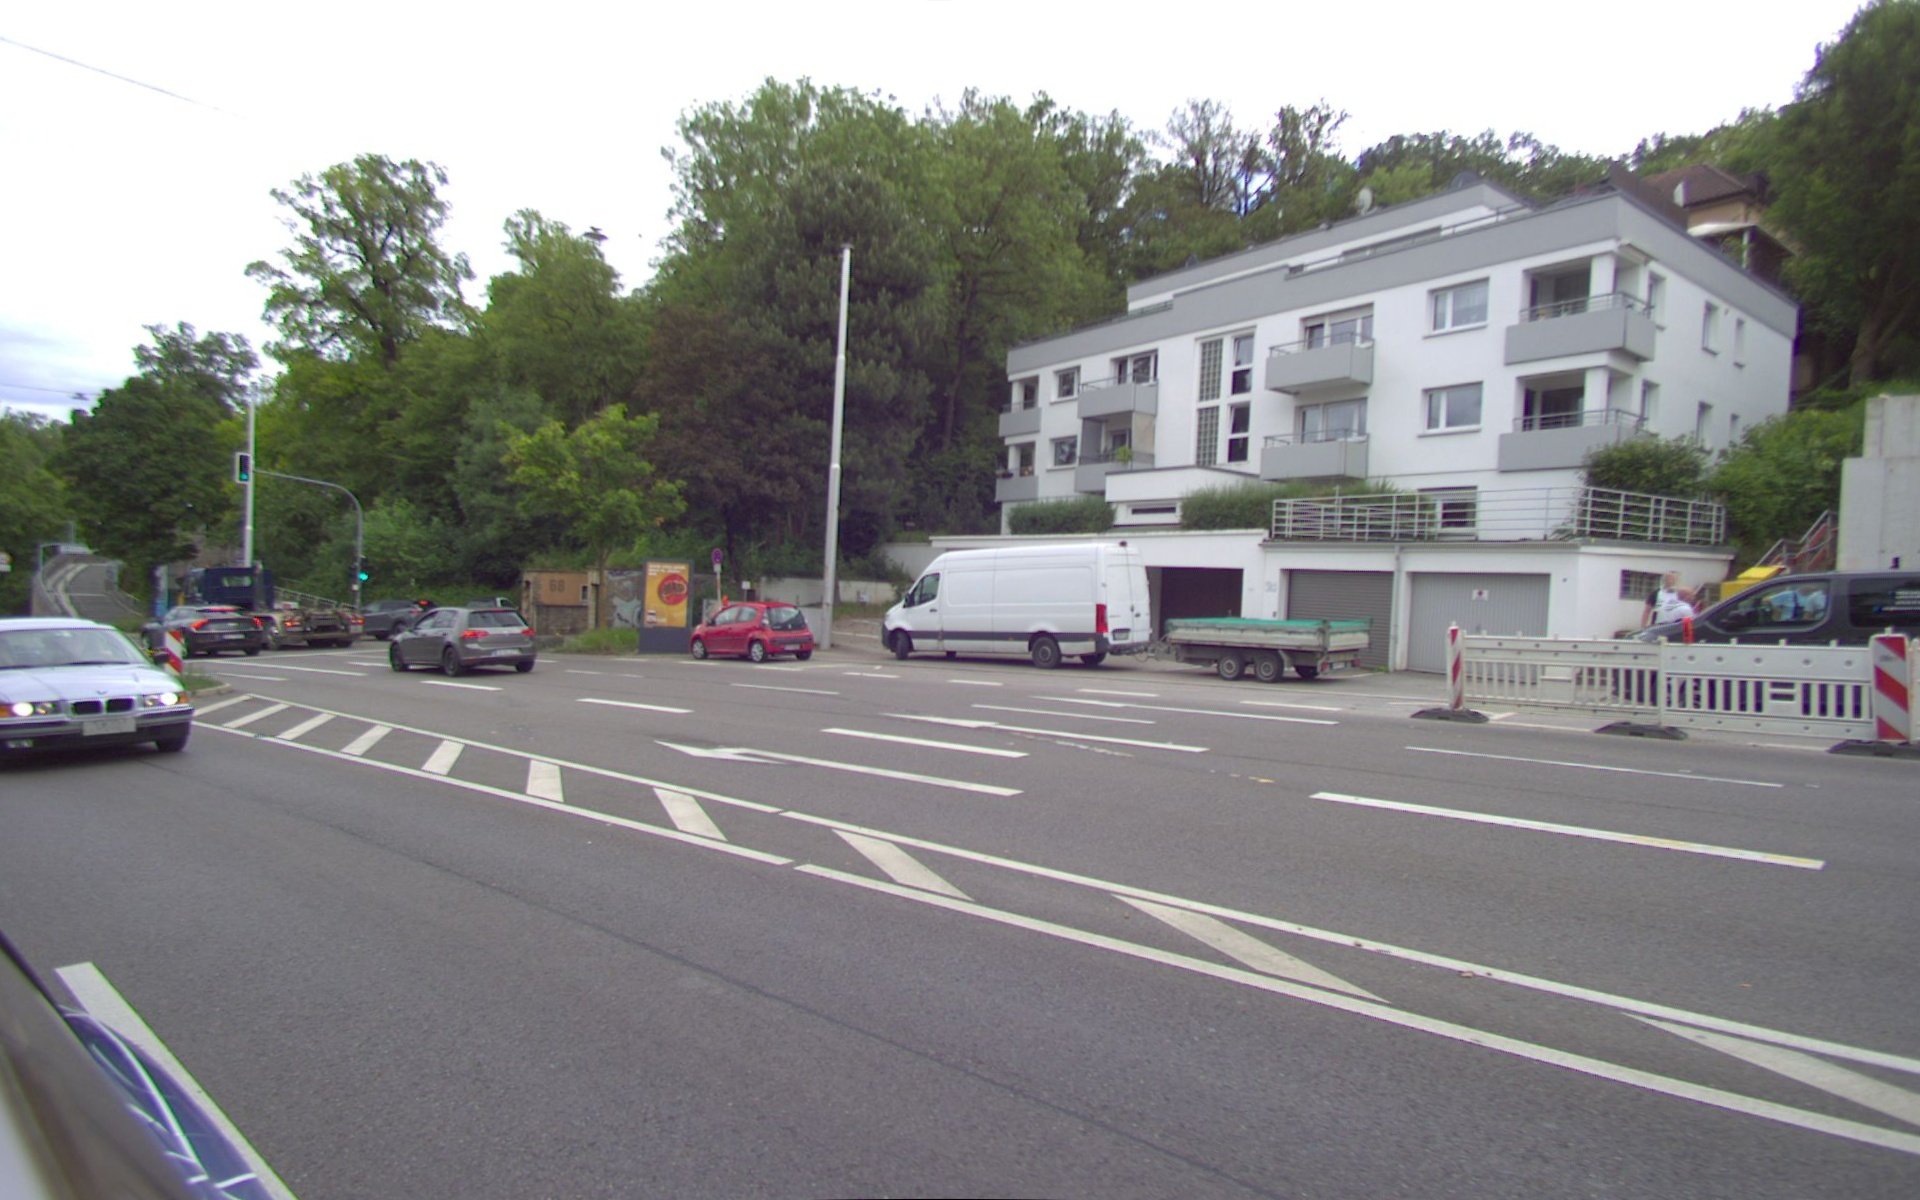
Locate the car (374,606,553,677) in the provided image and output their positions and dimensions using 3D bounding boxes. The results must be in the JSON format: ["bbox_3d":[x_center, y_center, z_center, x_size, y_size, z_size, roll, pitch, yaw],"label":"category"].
[{"bbox_3d":[-10.923,0.857,22.173,4.277,1.404,1.826,-1,-1,37],"label":"car"}]

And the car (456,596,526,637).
[{"bbox_3d":[-19.340,0.651,41.849,1.543,1.531,2.710,0,2,2],"label":"car"}]

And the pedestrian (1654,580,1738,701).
[{"bbox_3d":[10.490,0.558,14.437,0.661,1.652,0.677,-2,1,-7],"label":"pedestrian"}]

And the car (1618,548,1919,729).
[{"bbox_3d":[11.020,0.425,11.860,1.959,1.982,5.223,0,-1,-43],"label":"car"}]

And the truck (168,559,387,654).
[{"bbox_3d":[-23.963,0.251,35.353,8.948,2.993,2.939,-1,0,32],"label":"truck"}]

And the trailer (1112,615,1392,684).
[{"bbox_3d":[5.432,0.863,19.177,4.621,1.120,2.223,-1,-1,42],"label":"trailer"}]

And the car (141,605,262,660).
[{"bbox_3d":[-22.562,0.929,30.048,4.478,1.508,1.680,-1,0,37],"label":"car"}]

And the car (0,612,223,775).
[{"bbox_3d":[-9.829,0.845,10.913,4.606,1.404,1.737,-1,0,36],"label":"car"}]

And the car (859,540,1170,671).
[{"bbox_3d":[0.994,0.148,23.263,7.419,2.587,2.208,-1,-1,42],"label":"car"}]

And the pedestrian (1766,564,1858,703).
[{"bbox_3d":[11.709,0.441,13.928,0.661,1.854,0.677,-2,1,-7],"label":"pedestrian"}]

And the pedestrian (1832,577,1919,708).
[{"bbox_3d":[12.066,0.537,13.266,0.661,1.652,0.677,-2,1,-7],"label":"pedestrian"}]

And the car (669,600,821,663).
[{"bbox_3d":[-5.449,0.762,25.476,3.921,1.476,1.606,-1,-1,38],"label":"car"}]

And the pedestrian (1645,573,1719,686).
[{"bbox_3d":[10.987,0.433,15.415,0.617,1.652,0.674,-2,1,-22],"label":"pedestrian"}]

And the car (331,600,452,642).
[{"bbox_3d":[-21.552,0.799,38.383,4.095,1.551,1.591,-1,-1,16],"label":"car"}]
